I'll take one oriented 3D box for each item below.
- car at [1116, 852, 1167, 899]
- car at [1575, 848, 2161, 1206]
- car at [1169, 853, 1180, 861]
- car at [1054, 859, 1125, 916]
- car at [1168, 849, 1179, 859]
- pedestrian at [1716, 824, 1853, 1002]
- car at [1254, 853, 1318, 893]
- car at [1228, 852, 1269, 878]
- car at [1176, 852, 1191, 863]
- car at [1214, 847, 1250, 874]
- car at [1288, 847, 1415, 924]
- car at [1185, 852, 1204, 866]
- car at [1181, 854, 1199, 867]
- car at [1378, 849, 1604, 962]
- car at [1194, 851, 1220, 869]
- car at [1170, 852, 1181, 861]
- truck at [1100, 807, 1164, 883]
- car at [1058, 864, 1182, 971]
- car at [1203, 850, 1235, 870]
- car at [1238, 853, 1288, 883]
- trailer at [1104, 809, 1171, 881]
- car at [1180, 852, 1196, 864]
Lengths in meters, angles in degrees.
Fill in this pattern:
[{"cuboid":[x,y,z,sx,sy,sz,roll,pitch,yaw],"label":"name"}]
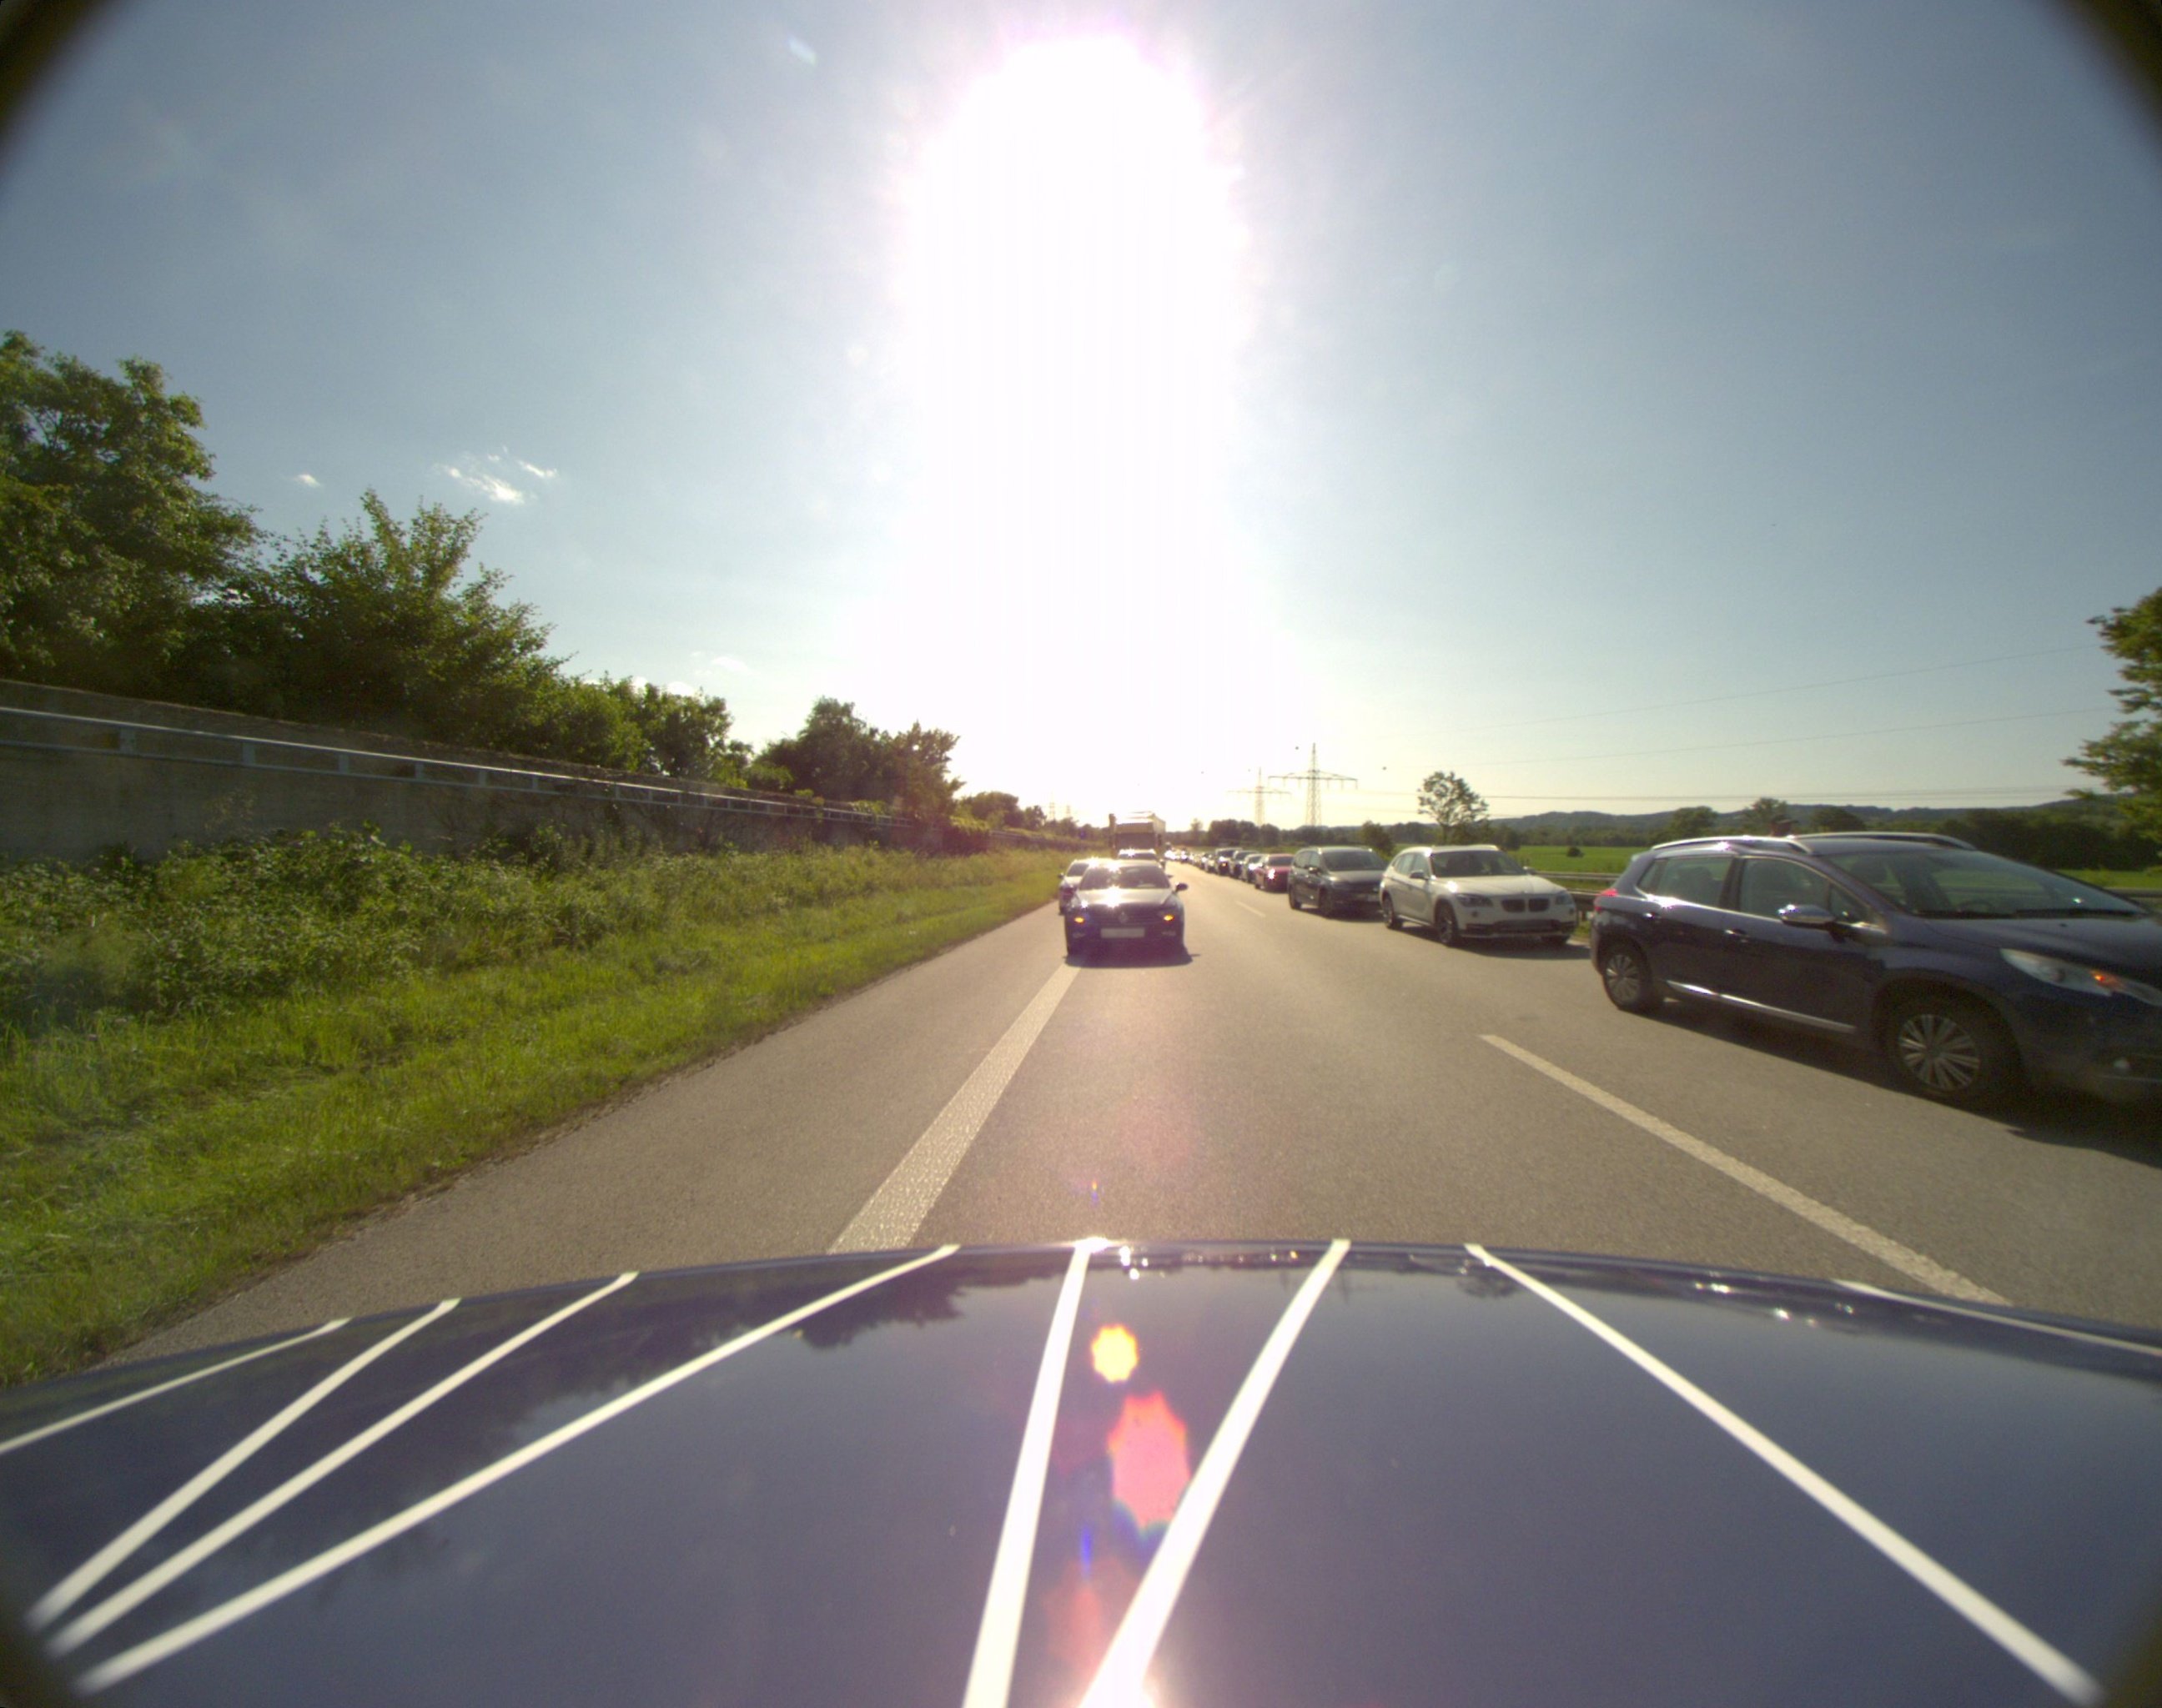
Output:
[{"cuboid":[2.310,0.743,28.660,1.716,1.614,4.327,-2,0,5],"label":"car"},{"cuboid":[5.562,0.758,5.312,1.692,1.526,3.949,-2,0,2],"label":"car"},{"cuboid":[16.312,0.505,133.126,1.819,1.450,4.119,0,0,6],"label":"car"},{"cuboid":[0.342,0.917,22.340,1.716,1.417,4.327,-2,0,5],"label":"car"},{"cuboid":[17.318,0.002,142.413,1.812,1.783,3.774,0,0,5],"label":"car"},{"cuboid":[7.212,0.578,7.833,0.672,1.740,0.814,0,1,5],"label":"pedestrian"},{"cuboid":[8.025,0.708,30.057,1.819,1.450,4.119,0,0,6],"label":"car"},{"cuboid":[9.815,0.609,44.758,1.893,1.446,4.001,0,0,5],"label":"car"},{"cuboid":[14.434,0.523,107.163,1.819,1.450,4.119,-2,0,5],"label":"car"},{"cuboid":[10.233,0.416,51.618,1.901,1.777,4.201,0,0,4],"label":"car"},{"cuboid":[6.352,0.669,18.352,1.819,1.606,4.118,-2,0,4],"label":"car"},{"cuboid":[12.177,0.541,81.539,1.819,1.450,4.119,-2,0,6],"label":"car"},{"cuboid":[12.656,0.735,88.118,1.819,1.450,4.119,0,0,5],"label":"car"},{"cuboid":[6.495,0.712,12.633,1.831,1.564,4.165,-1,0,5],"label":"car"},{"cuboid":[11.263,0.494,68.061,1.998,1.522,4.001,0,0,4],"label":"car"},{"cuboid":[15.831,0.350,127.497,1.819,1.450,4.119,-2,0,6],"label":"car"},{"cuboid":[3.198,-0.525,45.490,3.332,4.089,6.972,-2,1,7],"label":"truck"},{"cuboid":[0.742,0.939,12.955,1.716,1.405,4.327,-2,0,5],"label":"car"},{"cuboid":[10.614,0.450,58.786,1.998,1.522,4.001,0,0,4],"label":"car"},{"cuboid":[9.200,0.669,38.696,1.894,1.390,4.001,0,0,4],"label":"car"},{"cuboid":[4.110,-0.617,51.534,3.386,4.089,13.960,-2,1,8],"label":"trailer"},{"cuboid":[13.900,0.489,98.748,1.819,1.450,4.119,0,0,6],"label":"car"}]
